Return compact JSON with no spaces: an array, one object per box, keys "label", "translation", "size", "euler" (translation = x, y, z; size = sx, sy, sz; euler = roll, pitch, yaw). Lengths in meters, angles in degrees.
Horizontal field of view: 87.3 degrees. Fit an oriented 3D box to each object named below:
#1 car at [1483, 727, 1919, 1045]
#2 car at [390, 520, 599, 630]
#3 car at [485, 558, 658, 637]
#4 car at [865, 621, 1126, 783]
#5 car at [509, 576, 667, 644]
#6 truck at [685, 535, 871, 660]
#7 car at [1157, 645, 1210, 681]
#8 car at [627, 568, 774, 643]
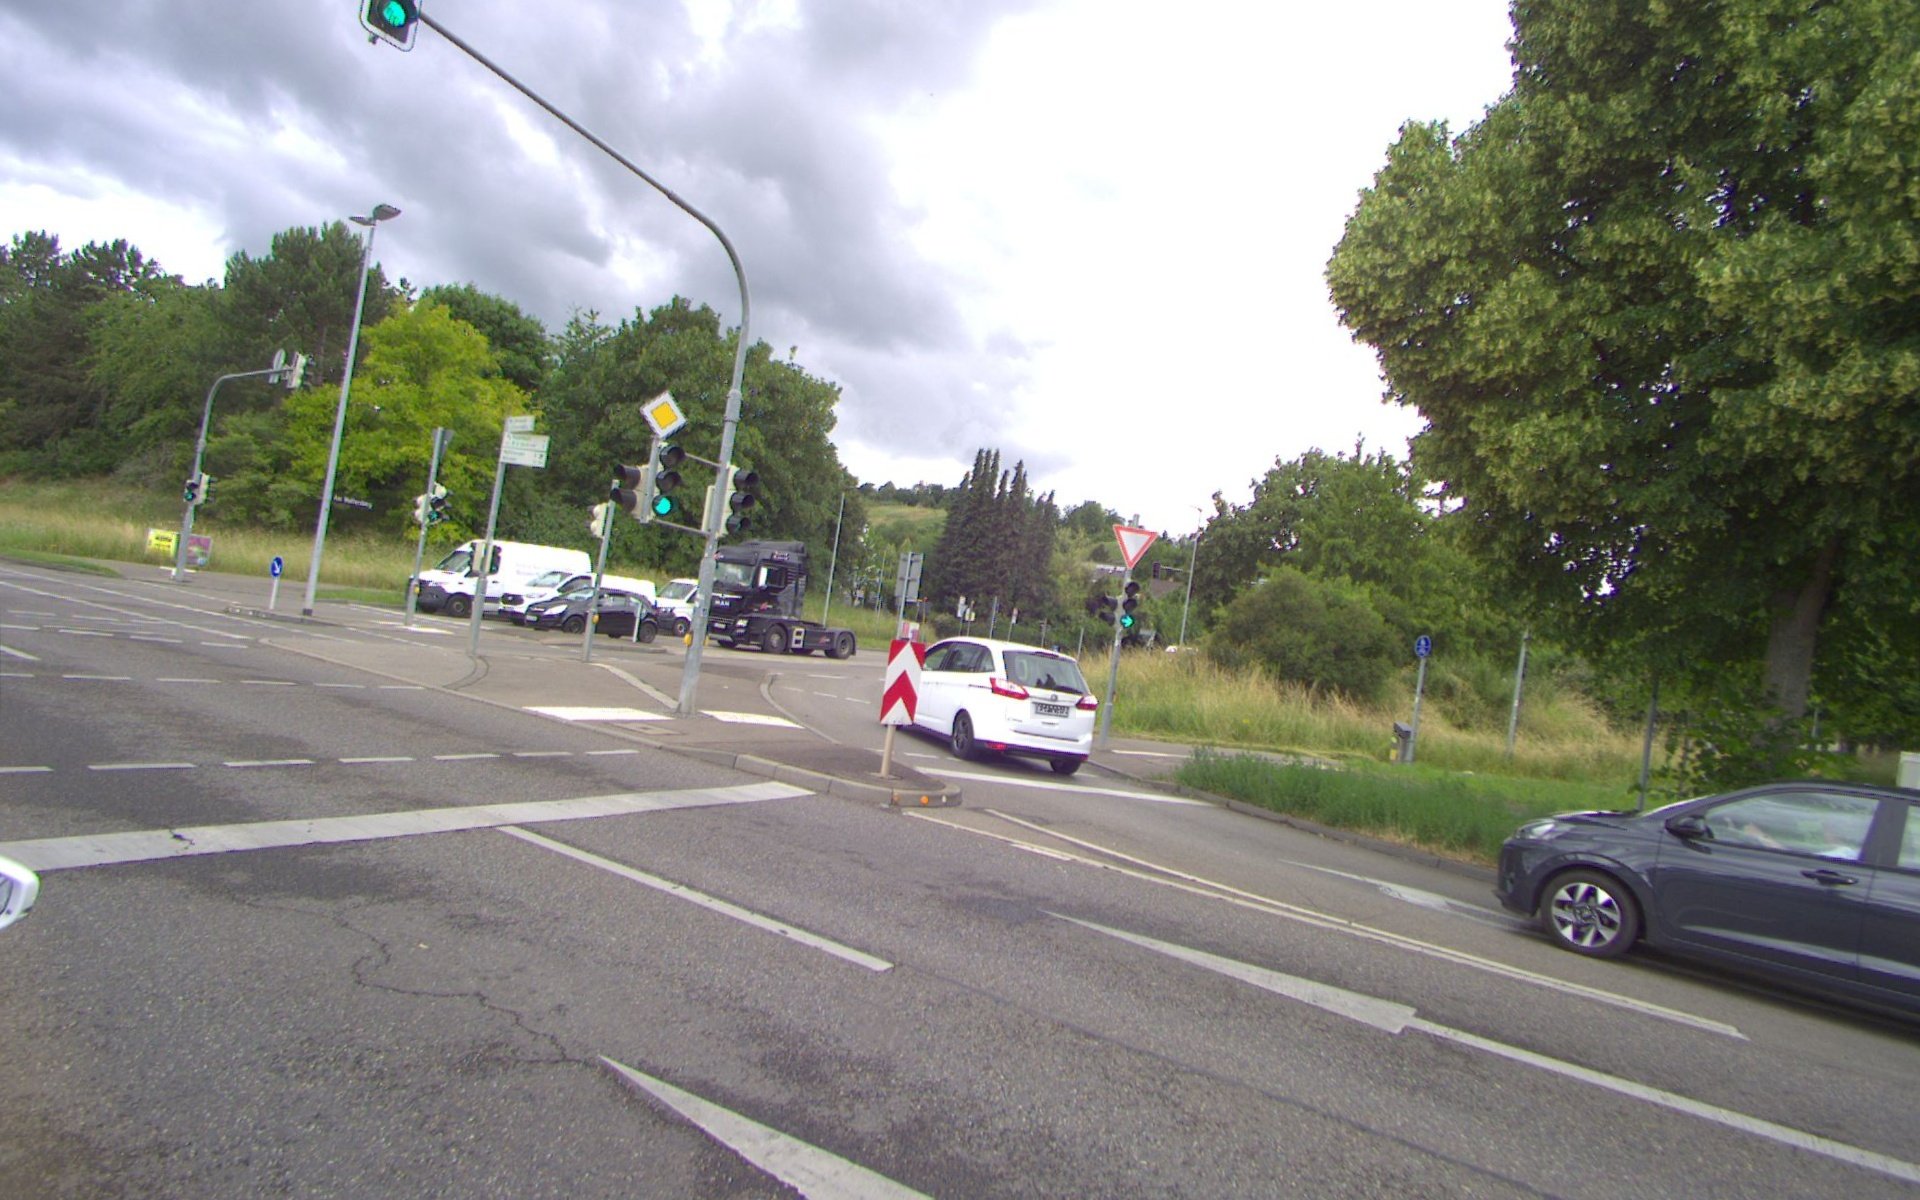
[{"label":"car","translation":[5.725,1.911,6.696],"size":[3.567,1.445,1.620],"euler":[6,-5,43]},{"label":"car","translation":[-15.335,-0.735,33.593],"size":[2.100,2.814,5.903],"euler":[7,-1,32]},{"label":"car","translation":[-12.464,-0.009,32.612],"size":[1.999,1.918,4.862],"euler":[7,-1,31]},{"label":"car","translation":[0.313,1.362,14.717],"size":[1.764,1.611,4.432],"euler":[11,-3,-25]},{"label":"car","translation":[-10.605,0.337,28.924],"size":[1.703,1.453,3.927],"euler":[7,-1,31]},{"label":"truck","translation":[-6.211,0.025,35.335],"size":[2.682,3.580,6.061],"euler":[7,-1,32]},{"label":"car","translation":[19.393,5.480,86.935],"size":[2.160,2.640,6.509],"euler":[7,-1,32]},{"label":"car","translation":[-10.425,0.290,40.900],"size":[2.100,2.316,5.709],"euler":[7,-1,32]}]
